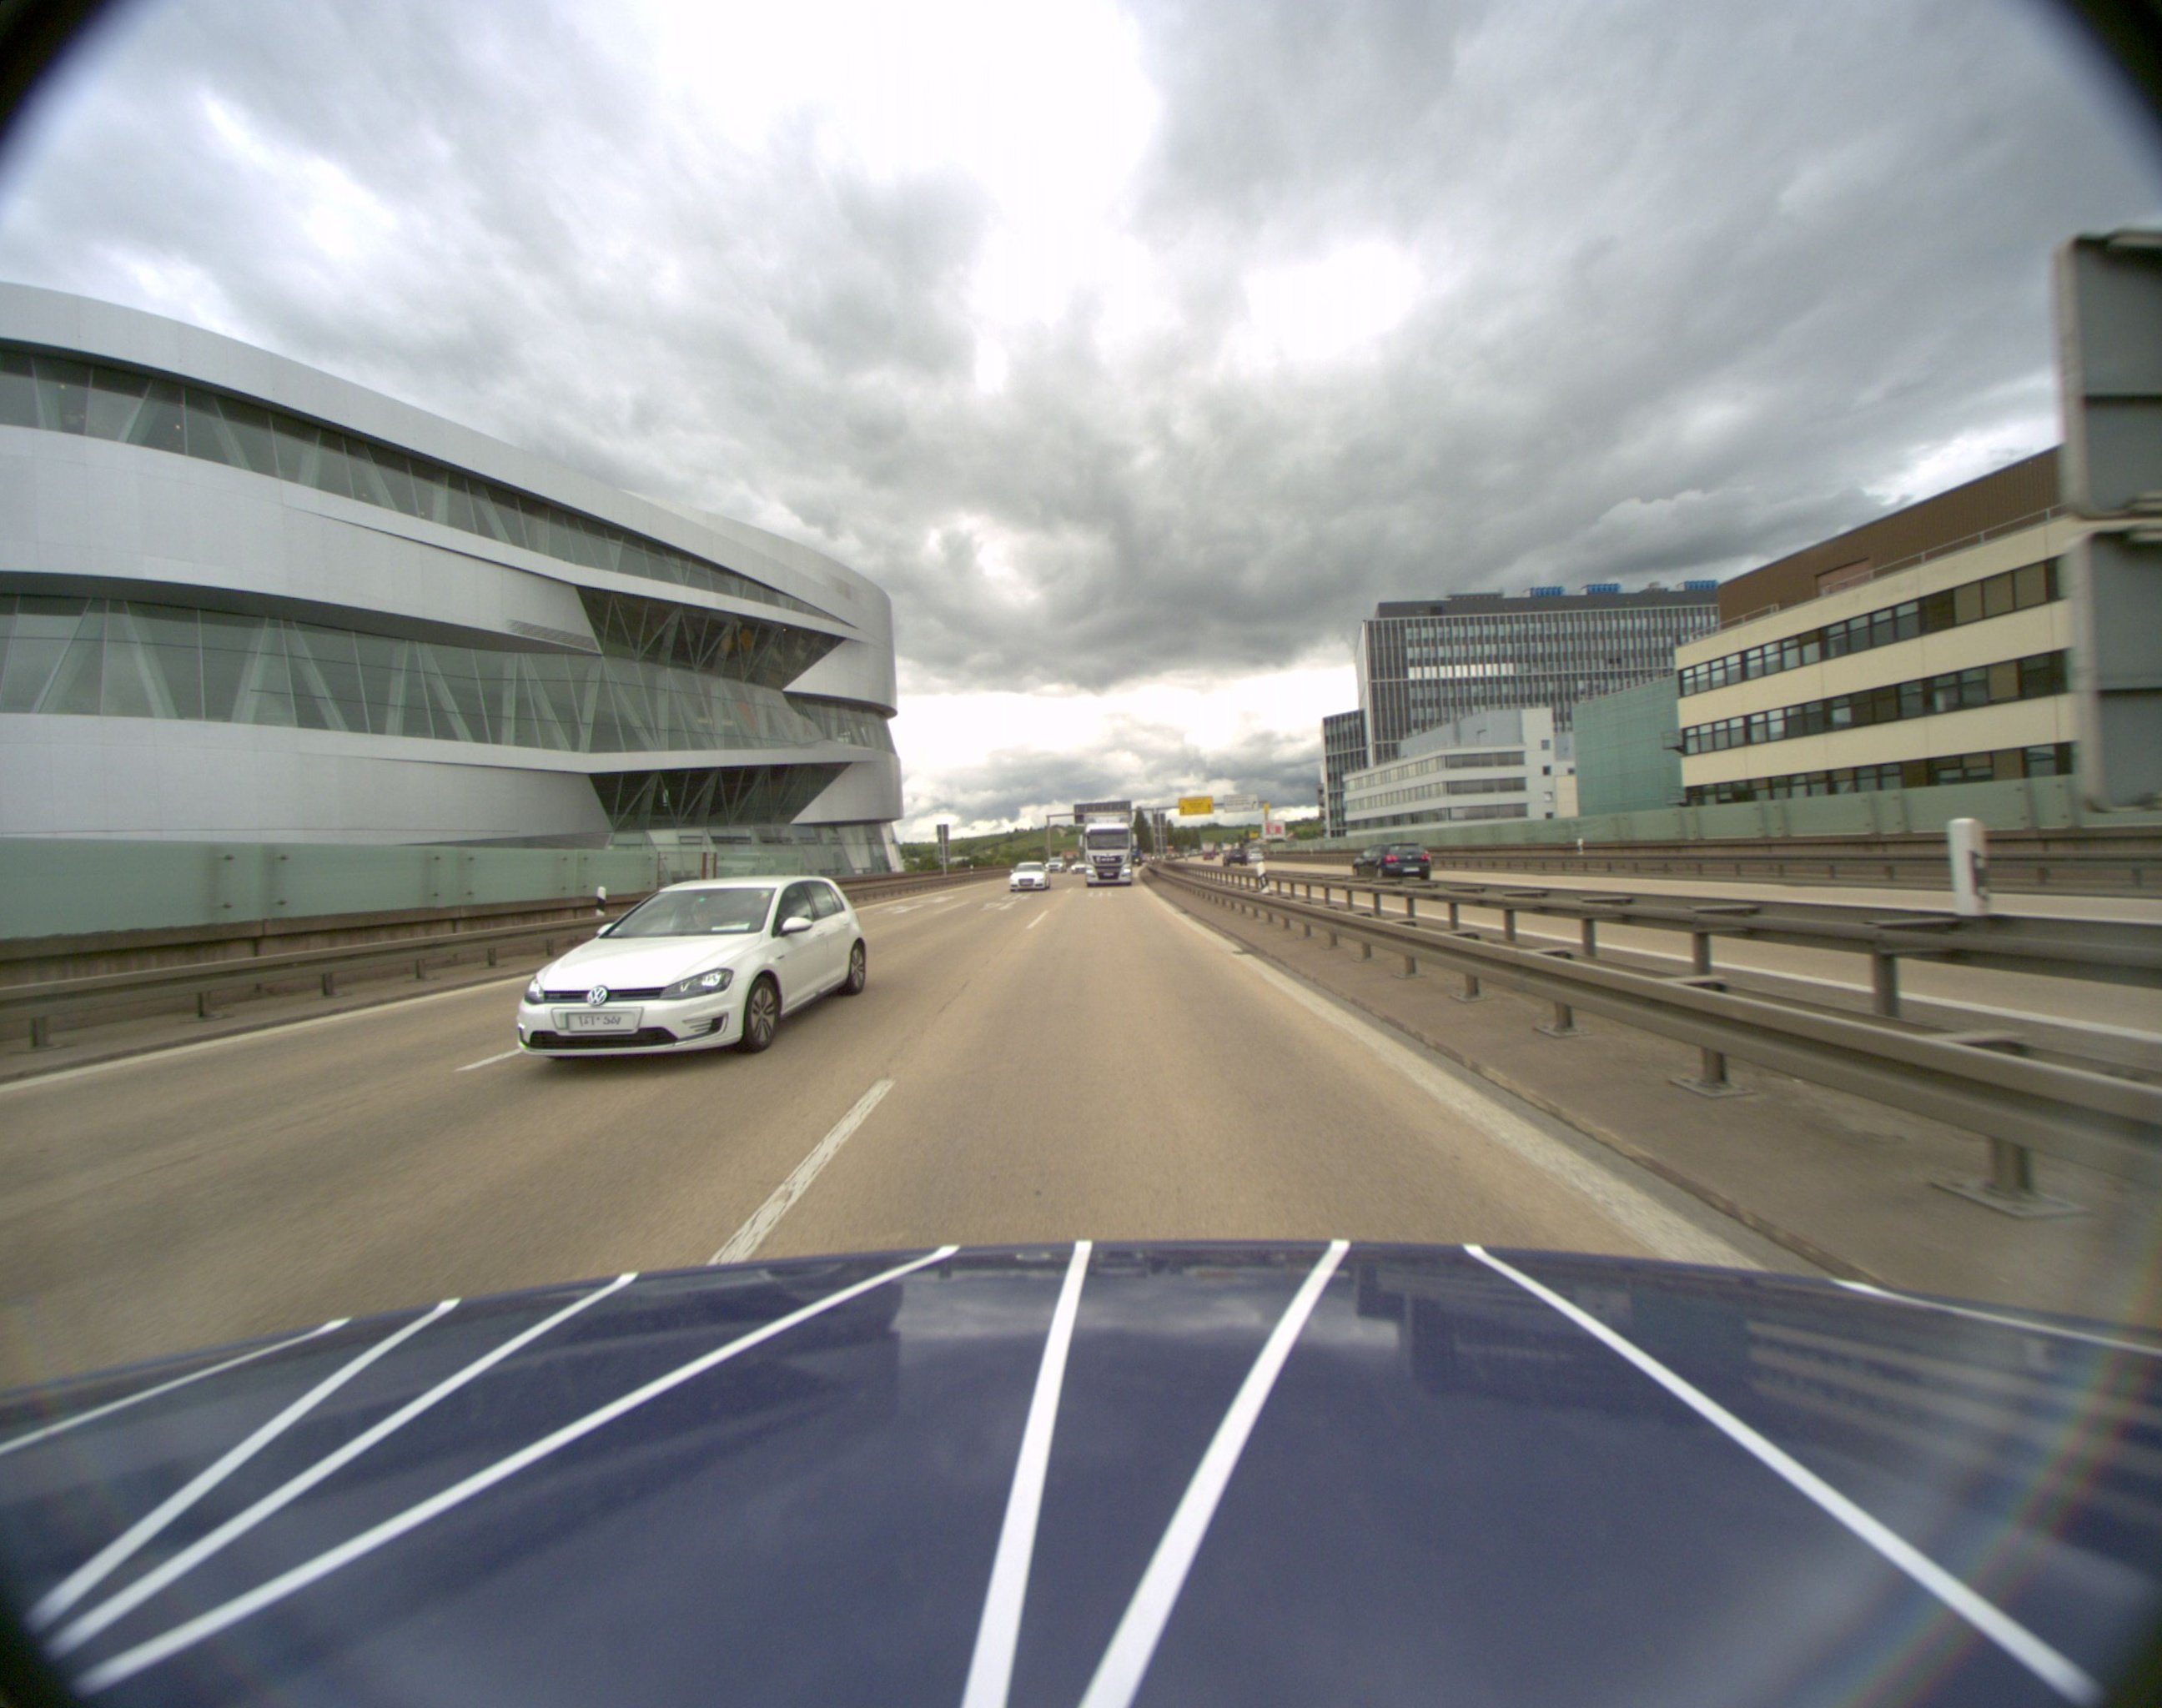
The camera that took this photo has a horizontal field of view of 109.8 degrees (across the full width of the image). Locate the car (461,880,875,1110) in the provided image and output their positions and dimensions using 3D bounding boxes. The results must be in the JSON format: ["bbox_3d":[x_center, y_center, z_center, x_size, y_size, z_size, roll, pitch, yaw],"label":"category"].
[{"bbox_3d":[-3.472,1.070,7.413,1.759,1.443,4.072,-2,0,0],"label":"car"}]

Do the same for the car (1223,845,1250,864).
[{"bbox_3d":[14.596,0.056,71.509,1.758,1.609,4.815,-2,0,2],"label":"car"}]

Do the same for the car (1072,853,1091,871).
[{"bbox_3d":[0.042,0.790,74.778,1.765,1.624,3.627,-2,0,1],"label":"car"}]

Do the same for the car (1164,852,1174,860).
[{"bbox_3d":[22.169,0.459,191.307,1.997,2.002,4.003,-2,0,11],"label":"car"}]

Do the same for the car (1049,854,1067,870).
[{"bbox_3d":[-2.471,0.869,82.961,1.785,1.624,3.627,-2,0,1],"label":"car"}]

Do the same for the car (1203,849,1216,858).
[{"bbox_3d":[20.865,-0.068,123.597,1.758,1.474,4.093,-2,0,7],"label":"car"}]

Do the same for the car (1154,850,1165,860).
[{"bbox_3d":[16.848,0.203,162.860,1.997,2.002,4.002,-2,0,8],"label":"car"}]

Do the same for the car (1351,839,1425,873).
[{"bbox_3d":[15.743,0.102,39.261,1.922,1.602,4.814,-2,0,1],"label":"car"}]

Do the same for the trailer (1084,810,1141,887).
[{"bbox_3d":[2.176,-0.330,47.252,2.879,4.104,11.223,-2,0,5],"label":"trailer"}]

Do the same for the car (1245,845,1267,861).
[{"bbox_3d":[18.956,-0.091,82.467,1.687,1.587,3.686,-2,0,2],"label":"car"}]

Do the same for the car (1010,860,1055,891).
[{"bbox_3d":[-2.424,1.056,38.791,1.848,1.443,3.933,-3,0,2],"label":"car"}]

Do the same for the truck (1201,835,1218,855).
[{"bbox_3d":[27.508,-1.833,162.600,3.268,3.836,13.060,-3,0,9],"label":"truck"}]

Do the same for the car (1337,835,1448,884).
[{"bbox_3d":[11.515,0.200,28.488,2.028,1.602,4.813,-2,0,-2],"label":"car"}]

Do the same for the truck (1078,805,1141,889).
[{"bbox_3d":[1.687,-0.377,41.903,2.945,4.136,6.293,-2,0,5],"label":"truck"}]

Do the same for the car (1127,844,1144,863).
[{"bbox_3d":[7.649,-0.034,106.221,2.144,2.494,4.525,-2,1,3],"label":"car"}]
